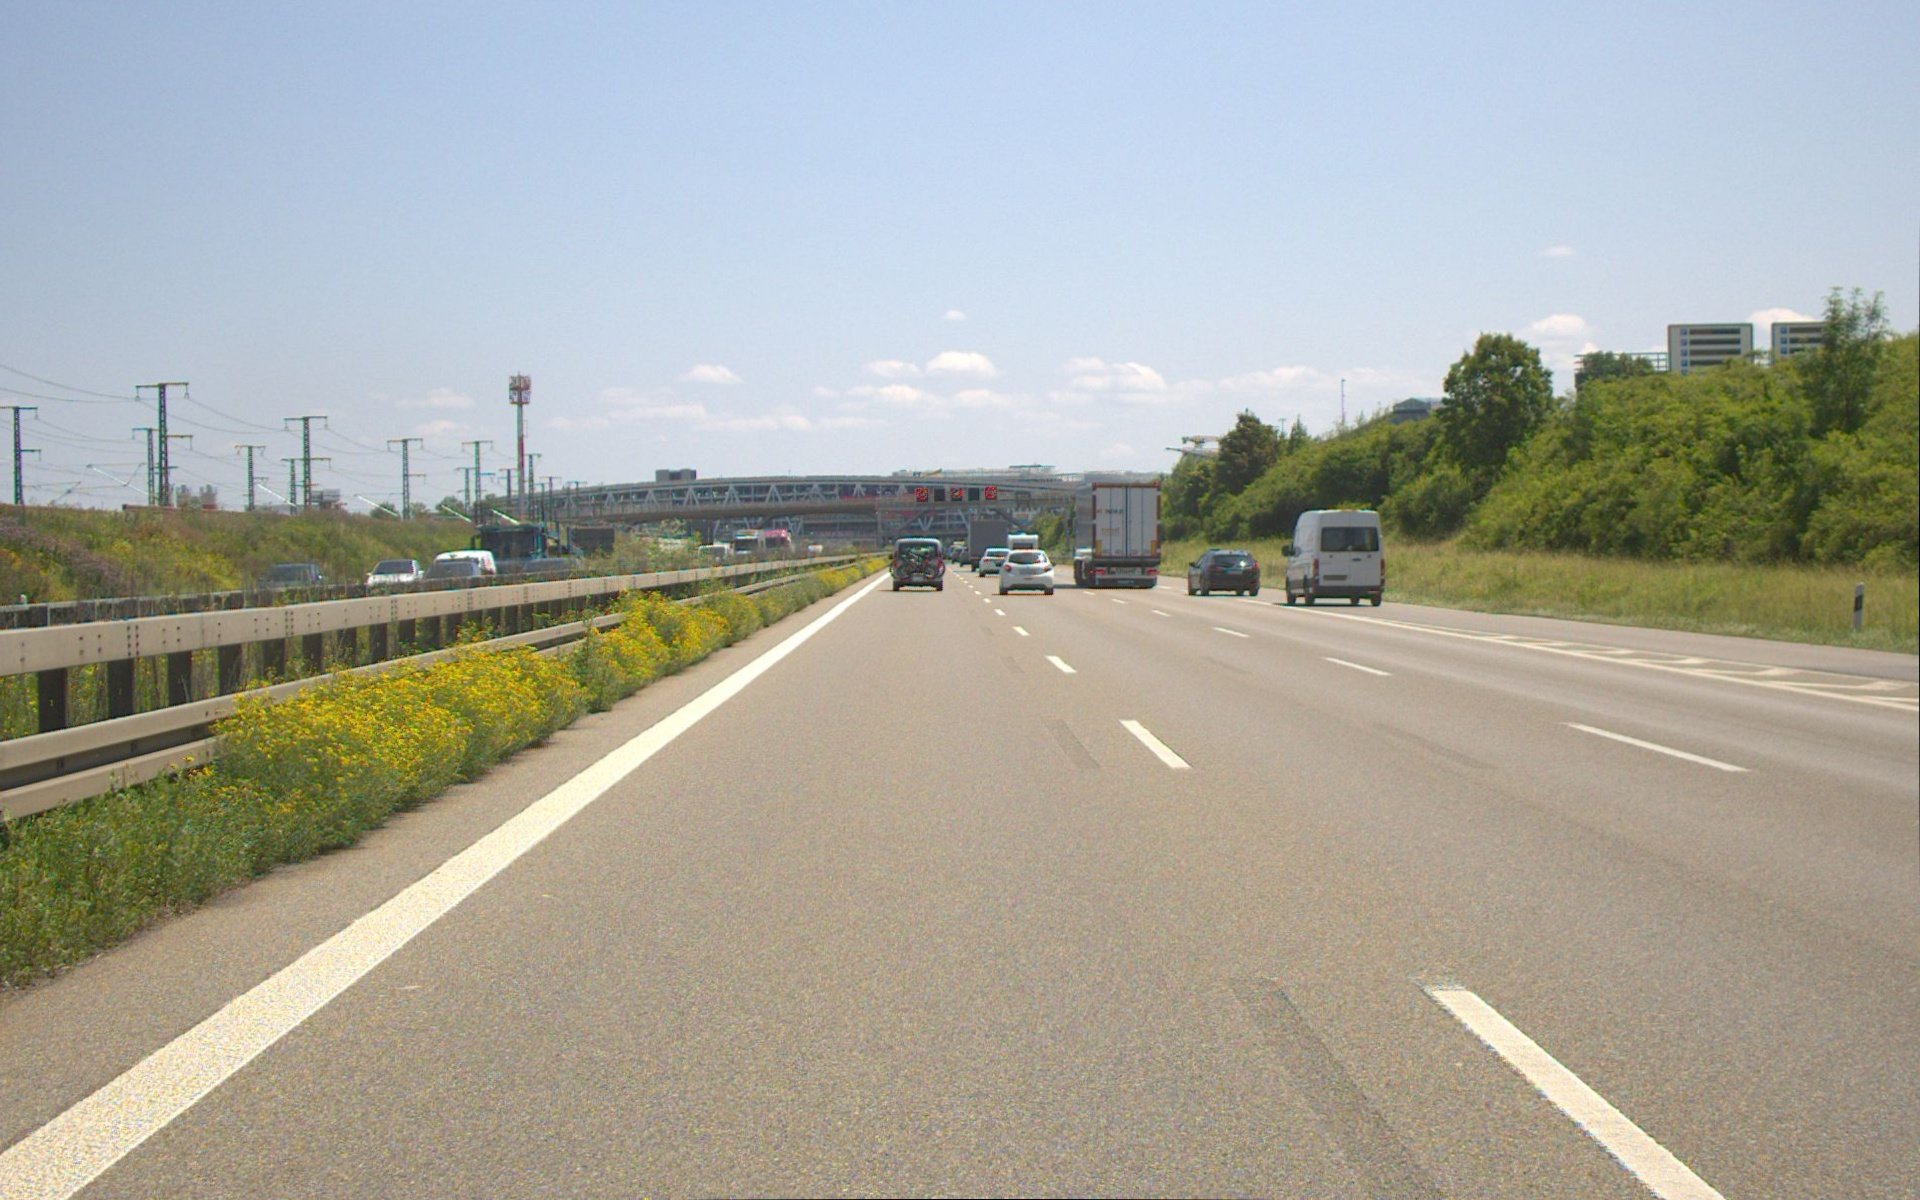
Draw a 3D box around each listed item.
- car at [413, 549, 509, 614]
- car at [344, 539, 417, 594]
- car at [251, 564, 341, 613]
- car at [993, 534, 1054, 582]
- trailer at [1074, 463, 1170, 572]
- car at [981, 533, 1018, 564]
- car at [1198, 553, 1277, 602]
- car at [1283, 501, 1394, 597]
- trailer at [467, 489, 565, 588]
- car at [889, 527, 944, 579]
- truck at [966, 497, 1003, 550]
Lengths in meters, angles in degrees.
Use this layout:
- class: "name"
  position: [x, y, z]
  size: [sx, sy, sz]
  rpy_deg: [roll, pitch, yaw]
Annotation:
- class: "car"
  position: [-13.442, -0.521, 92.885]
  size: [1.920, 1.605, 5.397]
  rpy_deg: [-2, 1, -2]
- class: "car"
  position: [-22.113, -1.262, 131.412]
  size: [1.993, 2.007, 4.495]
  rpy_deg: [-2, 0, 0]
- class: "car"
  position: [-20.928, -0.369, 108.498]
  size: [1.920, 1.412, 4.584]
  rpy_deg: [-2, 1, 0]
- class: "car"
  position: [2.080, -1.343, 111.646]
  size: [1.881, 1.521, 4.000]
  rpy_deg: [1, 0, 2]
- class: "trailer"
  position: [6.232, -3.197, 133.839]
  size: [3.177, 4.045, 9.440]
  rpy_deg: [-1, 1, 0]
- class: "car"
  position: [2.029, -2.658, 178.231]
  size: [1.881, 1.521, 4.000]
  rpy_deg: [1, 0, 1]
- class: "car"
  position: [8.903, -0.712, 110.717]
  size: [1.993, 1.503, 4.000]
  rpy_deg: [1, 0, -3]
- class: "car"
  position: [10.220, -1.400, 93.149]
  size: [2.274, 2.519, 5.400]
  rpy_deg: [0, 1, -1]
- class: "trailer"
  position: [-17.736, -2.461, 137.788]
  size: [3.050, 3.854, 7.204]
  rpy_deg: [-1, 1, -1]
- class: "car"
  position: [-1.505, -1.623, 120.651]
  size: [1.881, 1.769, 4.000]
  rpy_deg: [-1, 0, 0]
- class: "truck"
  position: [1.557, -4.943, 223.418]
  size: [2.355, 3.404, 6.057]
  rpy_deg: [0, 1, 0]
